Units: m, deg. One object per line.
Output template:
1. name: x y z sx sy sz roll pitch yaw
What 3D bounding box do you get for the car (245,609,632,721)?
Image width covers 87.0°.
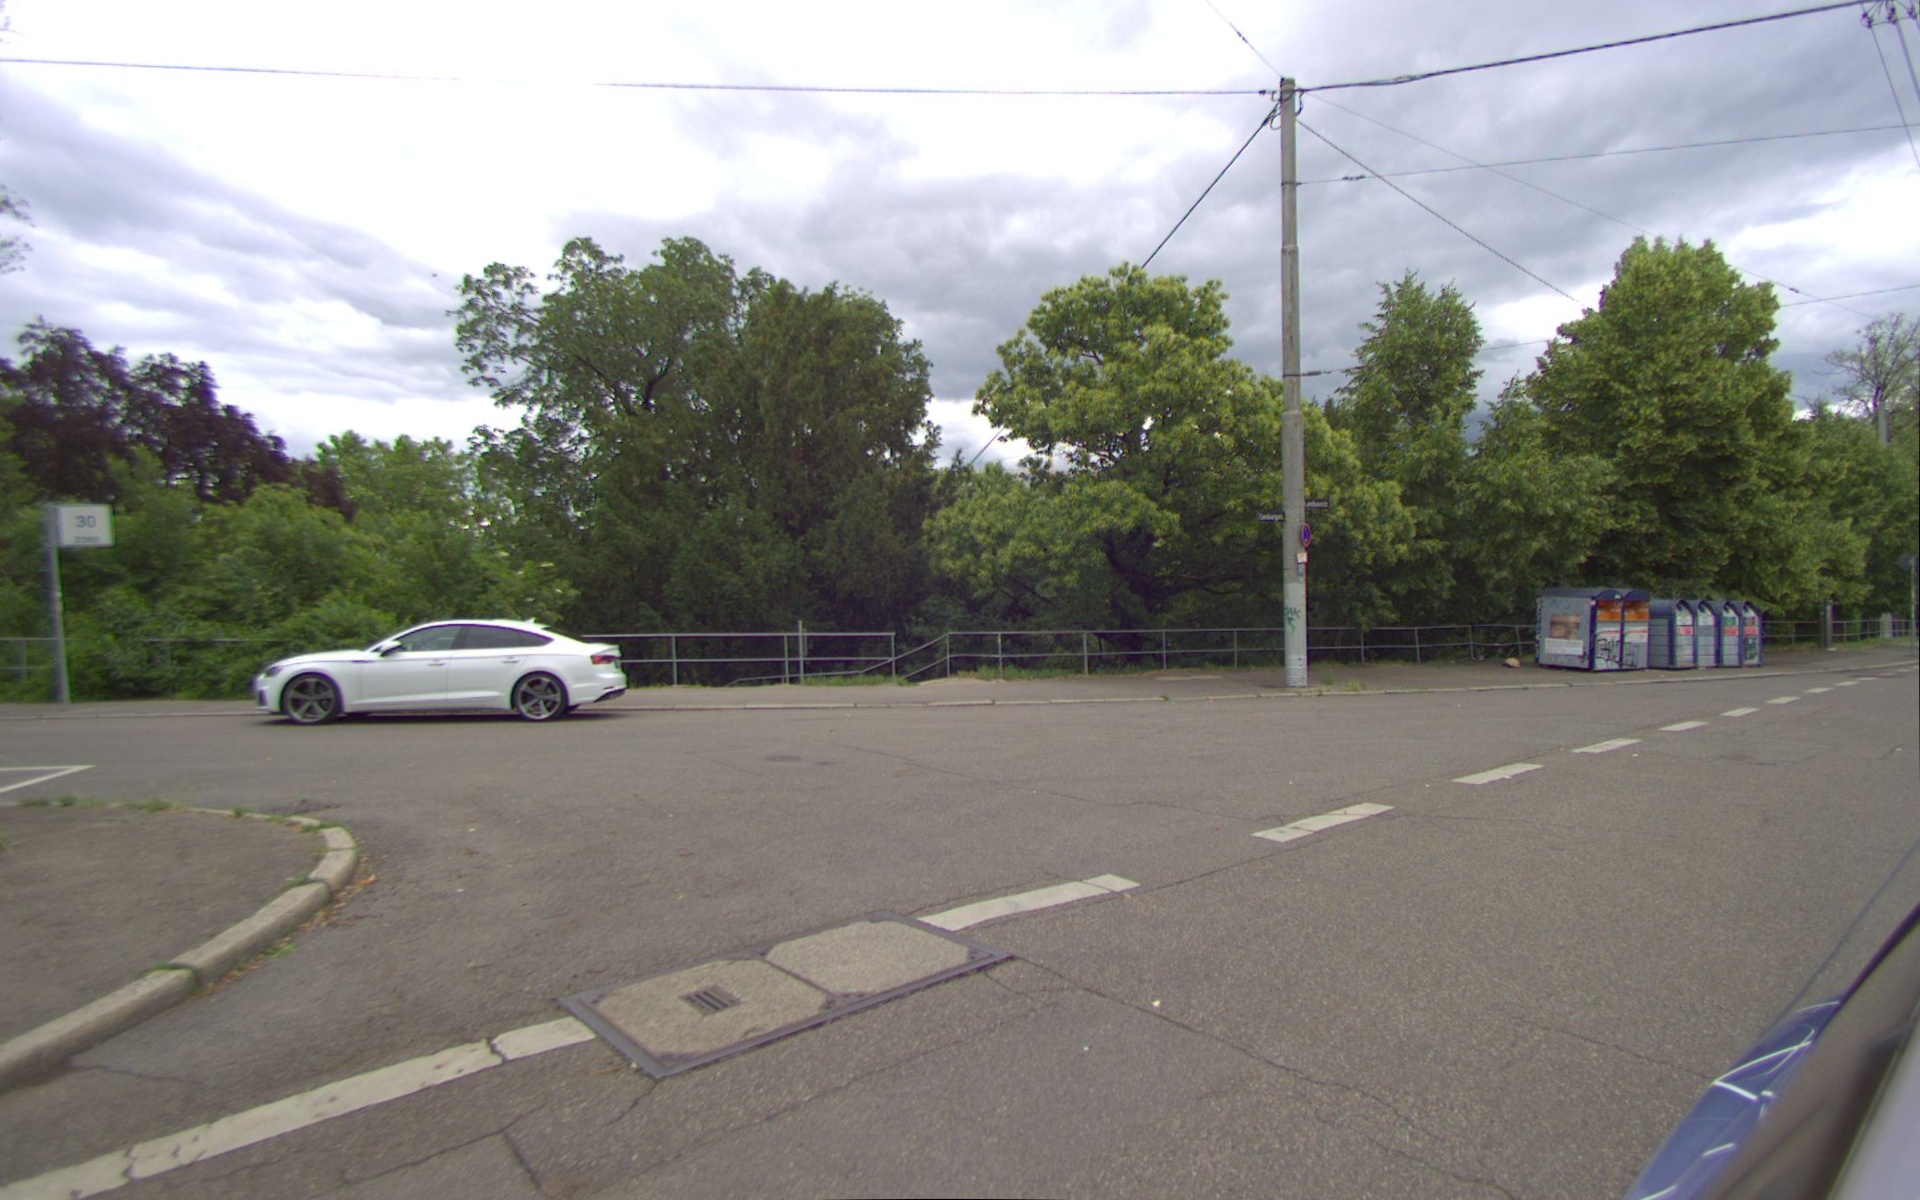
1. car: -7.055 0.864 14.247 4.503 1.399 1.903 0 -2 -13
